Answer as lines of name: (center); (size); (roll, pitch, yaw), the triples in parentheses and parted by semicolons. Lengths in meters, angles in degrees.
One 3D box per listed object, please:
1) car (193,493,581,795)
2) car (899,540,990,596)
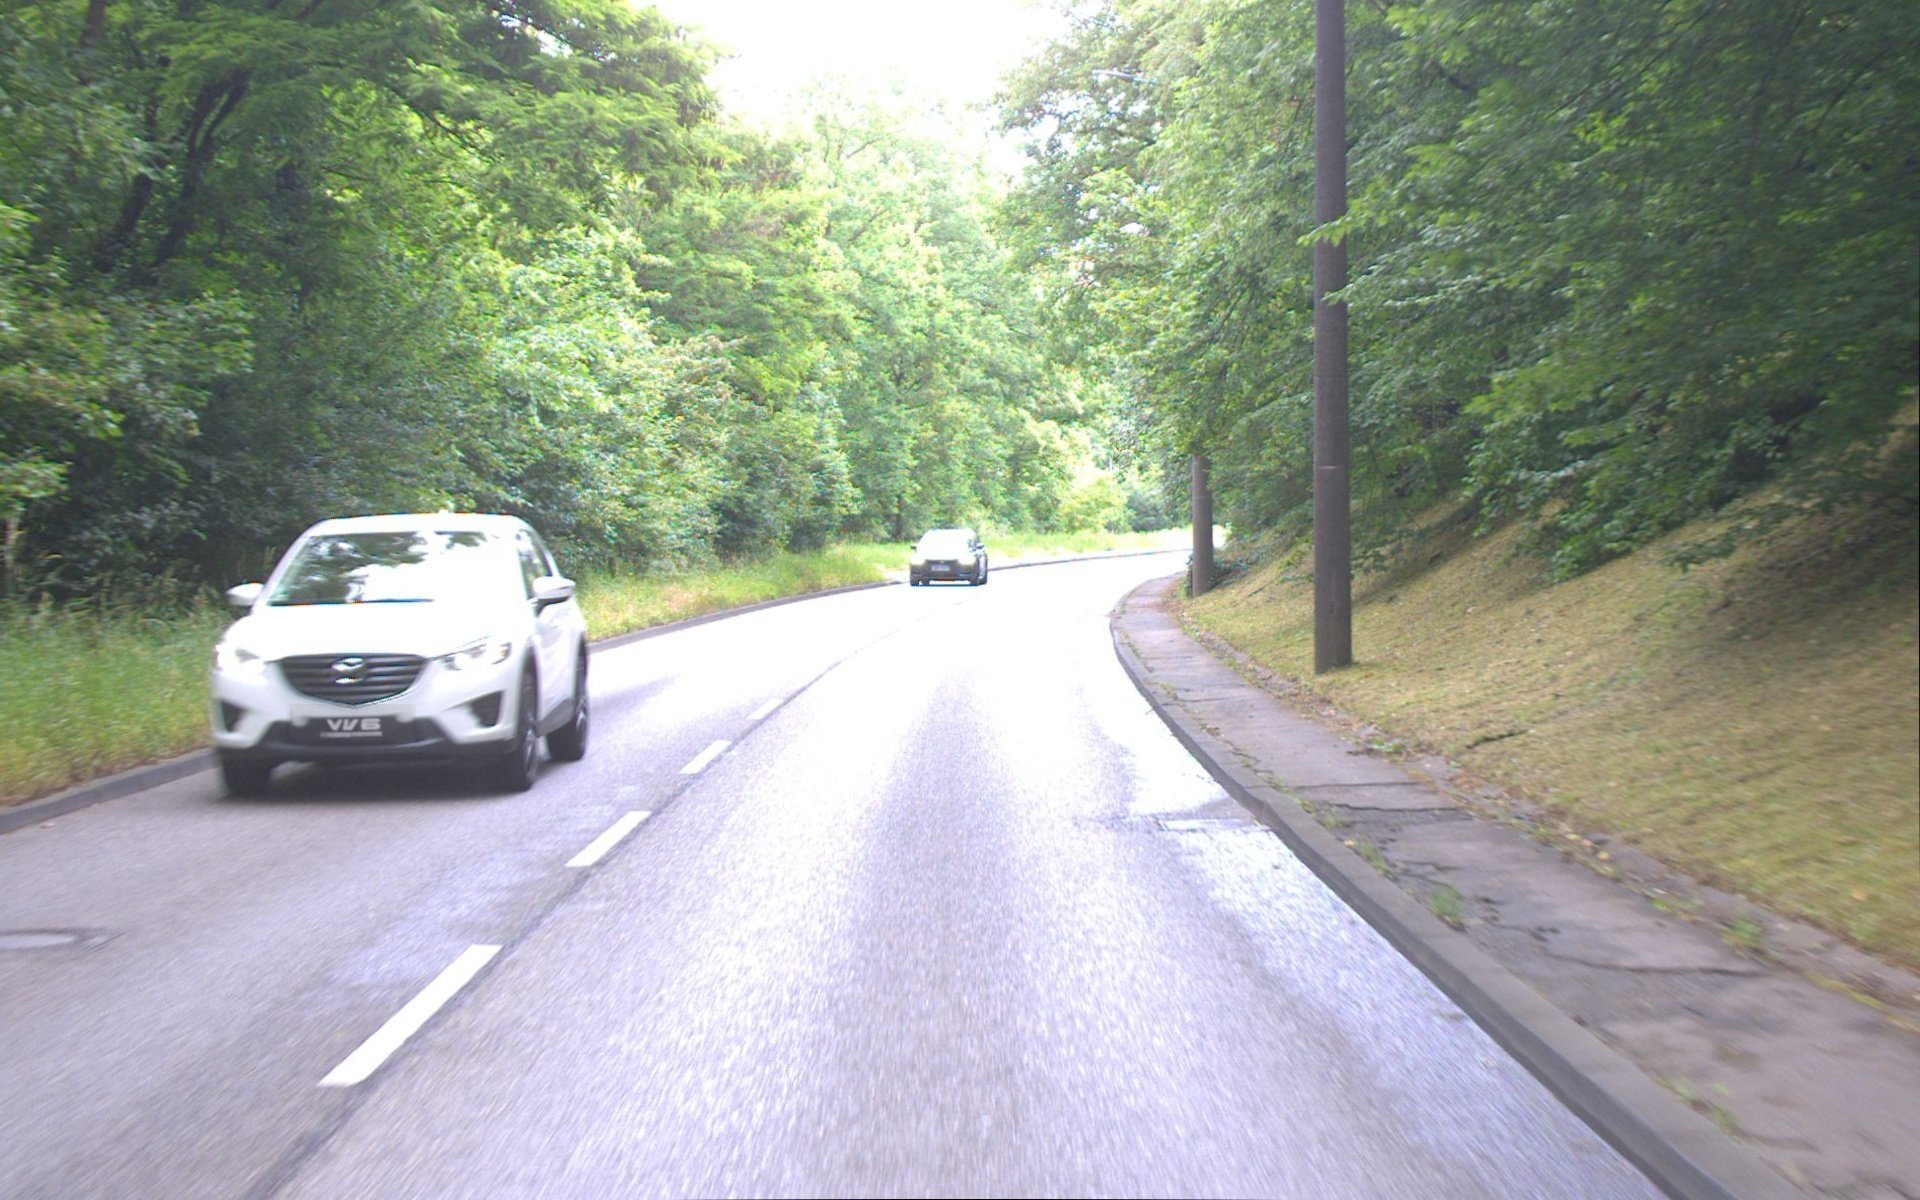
car: (-3.491, 0.235, 21.669); (1.819, 1.689, 4.288); (1, 0, -2)
car: (-0.437, -0.847, 90.794); (1.993, 1.432, 4.001); (1, 0, -6)
